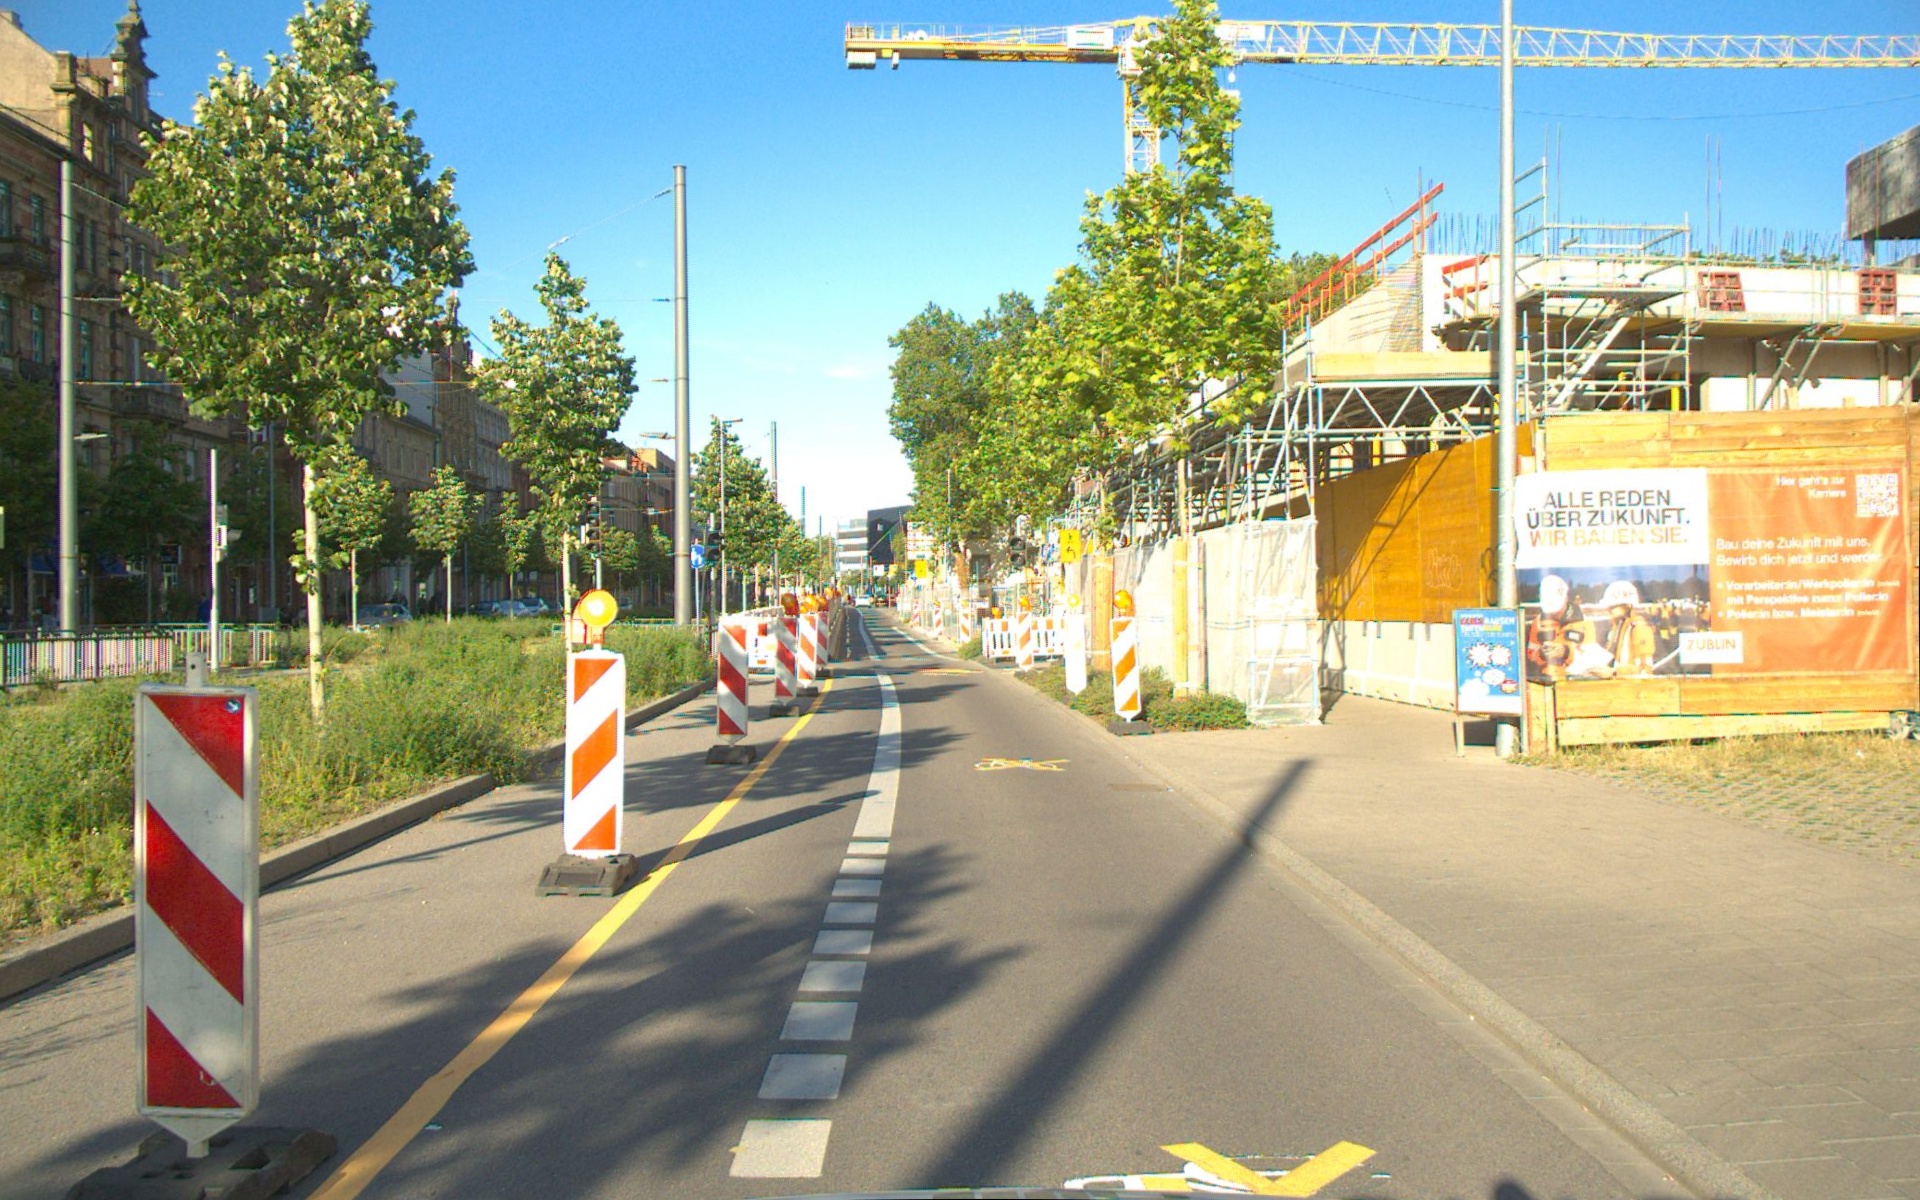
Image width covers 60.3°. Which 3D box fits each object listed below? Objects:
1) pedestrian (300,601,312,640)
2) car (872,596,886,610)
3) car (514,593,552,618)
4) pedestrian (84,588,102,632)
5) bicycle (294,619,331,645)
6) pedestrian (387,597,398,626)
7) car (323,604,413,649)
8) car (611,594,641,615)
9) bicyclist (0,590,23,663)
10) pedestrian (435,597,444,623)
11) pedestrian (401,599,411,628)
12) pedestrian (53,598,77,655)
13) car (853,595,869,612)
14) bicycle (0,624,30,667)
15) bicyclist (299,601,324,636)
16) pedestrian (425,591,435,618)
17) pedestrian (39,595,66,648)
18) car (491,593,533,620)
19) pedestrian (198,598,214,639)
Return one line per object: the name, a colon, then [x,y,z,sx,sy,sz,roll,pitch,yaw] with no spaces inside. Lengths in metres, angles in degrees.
pedestrian: [-30.247,0.927,76.502,0.359,1.795,0.406,2,-1,-4]
car: [-11.266,0.381,230.812,1.846,1.875,3.665,0,0,-4]
car: [-27.849,0.339,108.032,1.535,1.590,4.710,0,0,-4]
pedestrian: [-32.164,0.357,61.337,0.377,1.612,0.390,1,-1,27]
bicycle: [-23.468,1.151,60.017,0.624,0.873,2.030,0,0,-2]
pedestrian: [-32.778,0.660,95.524,0.425,1.612,0.385,2,-1,-6]
car: [-20.652,0.900,57.830,1.816,1.445,4.067,1,0,-3]
car: [-24.212,0.336,120.068,1.563,1.509,3.622,0,0,-2]
bicyclist: [-22.626,0.612,38.896,0.681,1.686,0.882,0,0,-3]
pedestrian: [-33.606,0.649,106.815,0.452,1.612,0.434,2,-1,-10]
pedestrian: [-32.052,0.781,95.636,0.420,1.612,0.339,2,-1,-2]
pedestrian: [-28.861,0.846,53.310,0.498,1.795,0.406,2,-1,-4]
car: [-11.565,0.399,193.855,1.846,1.875,3.665,0,0,-4]
bicycle: [-22.617,1.064,38.777,0.681,0.995,1.826,0,0,-3]
bicyclist: [-23.464,0.654,59.848,0.624,1.261,0.738,0,0,-3]
pedestrian: [-31.719,0.266,98.995,0.397,1.559,0.434,2,-1,-4]
pedestrian: [-28.022,0.667,51.075,0.477,1.612,0.533,2,-1,-4]
car: [-27.429,0.375,101.420,1.535,1.590,4.711,0,0,-4]
pedestrian: [-29.892,0.733,65.558,0.395,1.612,0.425,2,-1,-4]
